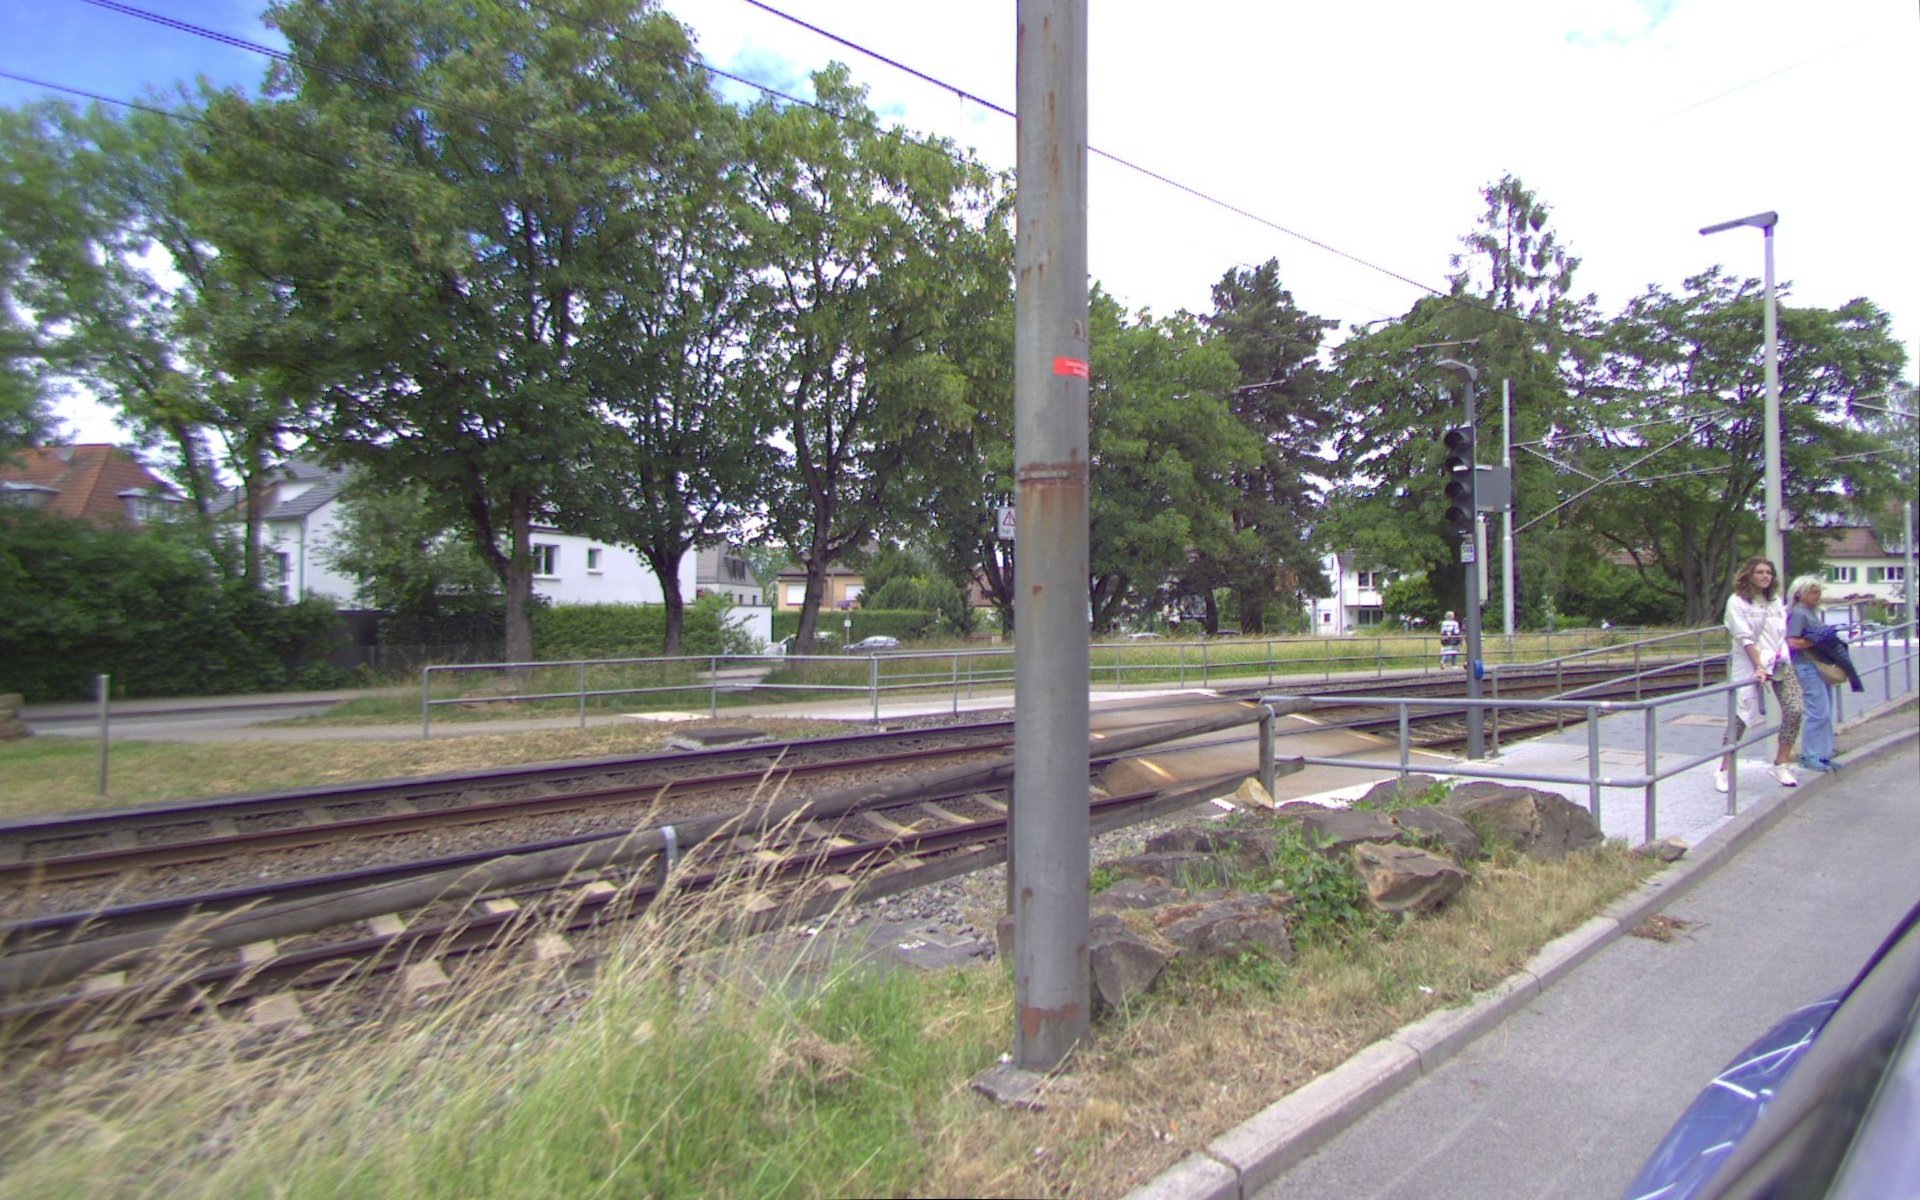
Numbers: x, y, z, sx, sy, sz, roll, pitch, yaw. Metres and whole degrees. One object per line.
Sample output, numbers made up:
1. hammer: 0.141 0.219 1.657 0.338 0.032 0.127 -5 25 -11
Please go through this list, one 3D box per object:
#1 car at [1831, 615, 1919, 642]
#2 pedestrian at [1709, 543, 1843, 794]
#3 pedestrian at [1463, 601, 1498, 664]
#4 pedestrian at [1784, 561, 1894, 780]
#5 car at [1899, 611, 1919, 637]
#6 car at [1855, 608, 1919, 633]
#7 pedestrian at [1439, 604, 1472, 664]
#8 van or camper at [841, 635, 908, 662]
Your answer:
1. car: 48.412 1.499 53.536 3.917 1.366 2.003 0 -2 -24
2. pedestrian: 6.351 0.508 7.909 0.655 1.863 0.591 -2 0 29
3. pedestrian: 13.777 0.844 26.787 0.775 1.643 0.494 0 -2 -35
4. pedestrian: 7.402 0.556 8.553 0.471 1.750 0.792 -2 0 28
5. car: 53.411 1.279 55.025 3.917 1.366 2.003 0 -2 -24
6. car: 70.898 1.570 77.013 4.148 1.886 2.003 0 -2 -10
7. pedestrian: 13.323 0.896 27.192 0.679 1.582 0.494 0 -2 -35
8. van or camper: -5.539 3.157 65.909 3.993 1.672 1.993 -1 -2 10
